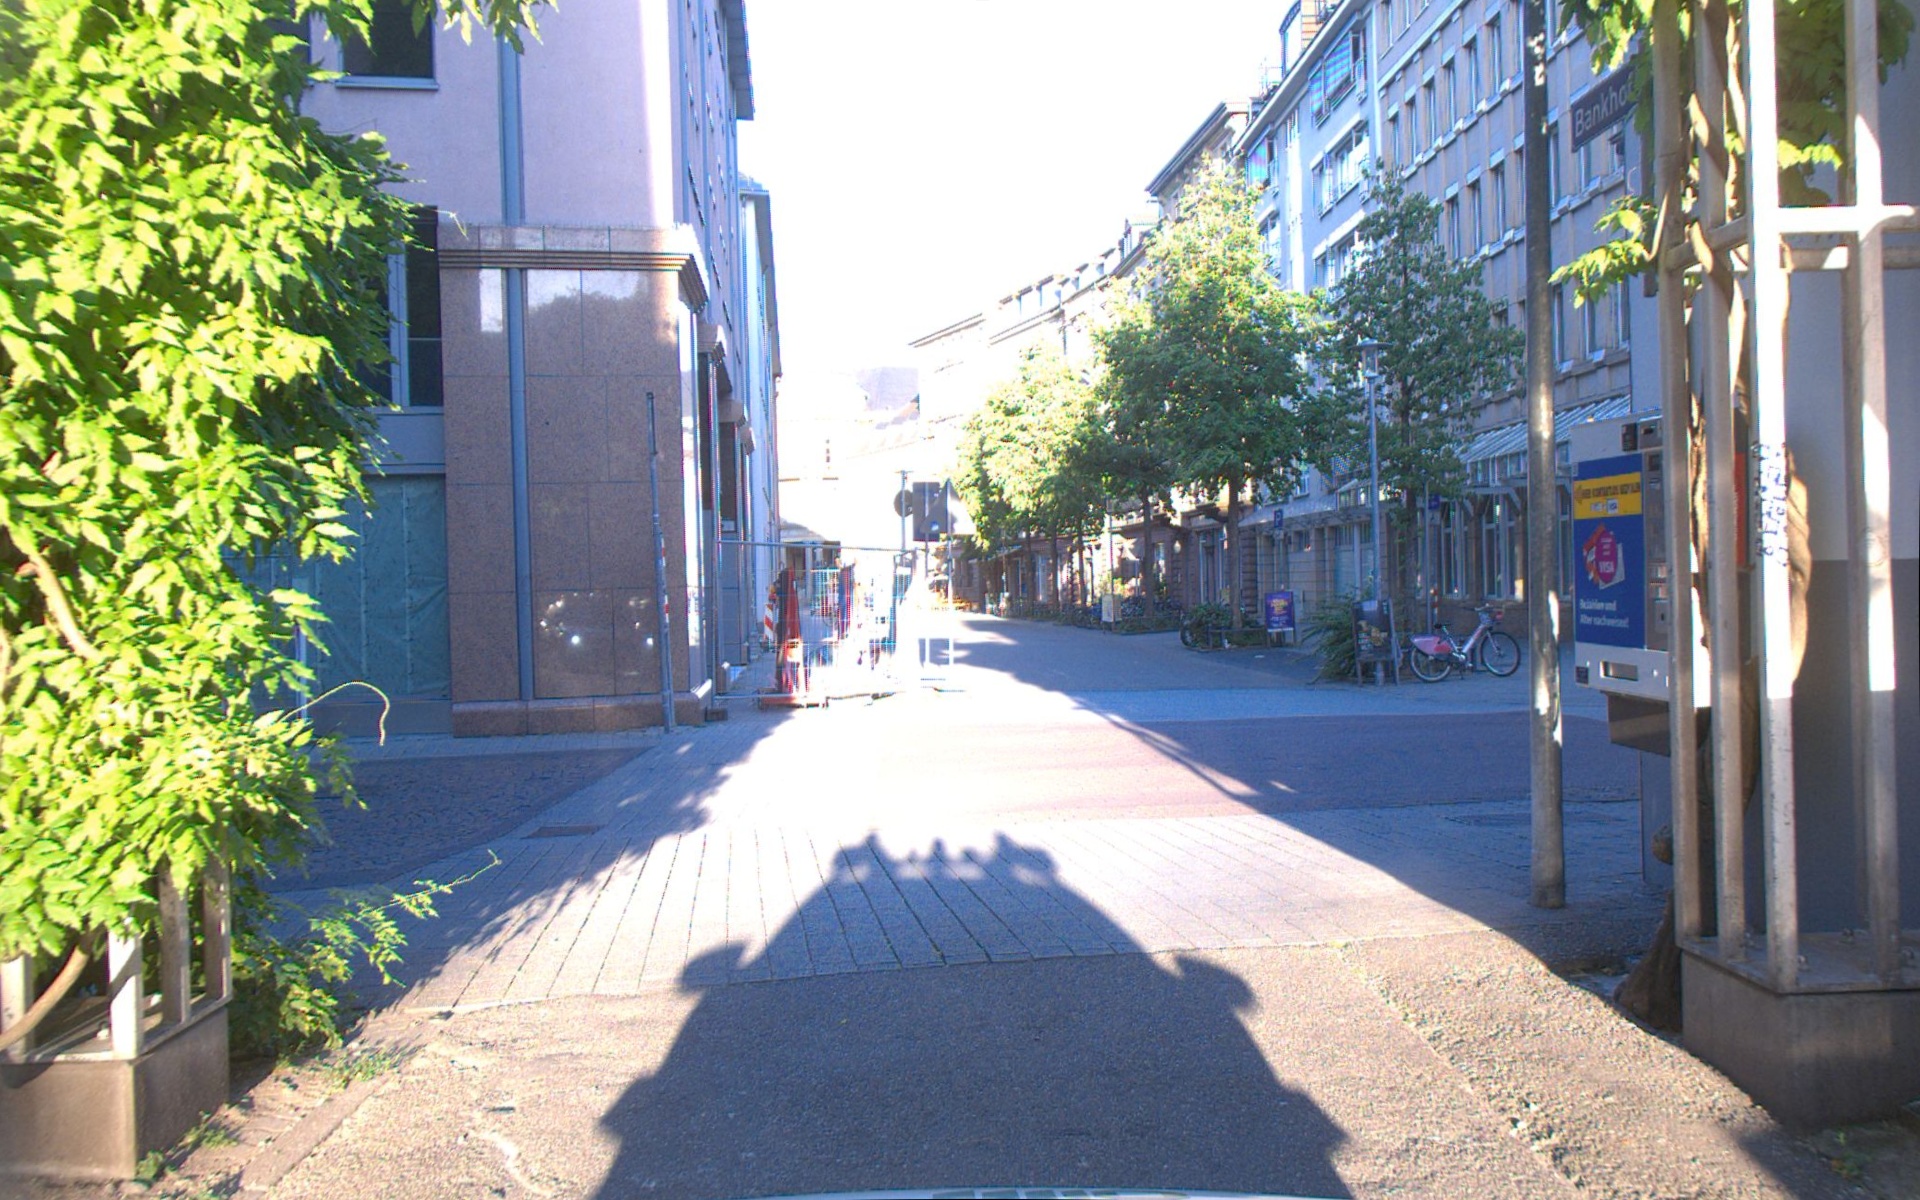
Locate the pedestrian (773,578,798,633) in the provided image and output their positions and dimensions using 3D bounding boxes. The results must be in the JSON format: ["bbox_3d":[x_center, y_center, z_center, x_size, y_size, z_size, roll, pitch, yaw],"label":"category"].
[{"bbox_3d":[-5.385,0.161,51.101,0.641,1.680,0.634,-2,0,2],"label":"pedestrian"}]

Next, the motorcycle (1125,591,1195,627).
[{"bbox_3d":[6.925,0.306,57.231,2.440,1.114,0.586,-2,-1,-26],"label":"motorcycle"}]

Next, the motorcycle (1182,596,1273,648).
[{"bbox_3d":[6.550,0.536,40.527,2.111,1.171,0.493,-2,-1,-6],"label":"motorcycle"}]

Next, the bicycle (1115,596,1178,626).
[{"bbox_3d":[6.556,0.389,58.208,2.120,0.942,0.587,-2,-1,-19],"label":"bicycle"}]

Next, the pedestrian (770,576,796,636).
[{"bbox_3d":[-5.400,0.177,50.484,0.641,1.794,0.634,-2,0,2],"label":"pedestrian"}]

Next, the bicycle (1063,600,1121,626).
[{"bbox_3d":[5.121,0.503,64.230,2.114,0.942,0.589,-2,-1,-11],"label":"bicycle"}]

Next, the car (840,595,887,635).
[{"bbox_3d":[-4.452,0.688,75.777,1.807,1.713,3.638,-2,0,-8],"label":"car"}]

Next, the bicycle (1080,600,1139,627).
[{"bbox_3d":[5.617,0.504,62.265,2.114,0.942,0.589,-2,-1,-11],"label":"bicycle"}]

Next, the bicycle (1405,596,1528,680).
[{"bbox_3d":[7.414,0.553,24.277,1.621,1.068,0.663,-5,1,15],"label":"bicycle"}]

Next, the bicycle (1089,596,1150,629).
[{"bbox_3d":[5.797,0.455,59.969,2.107,1.079,0.591,-3,-1,11],"label":"bicycle"}]
